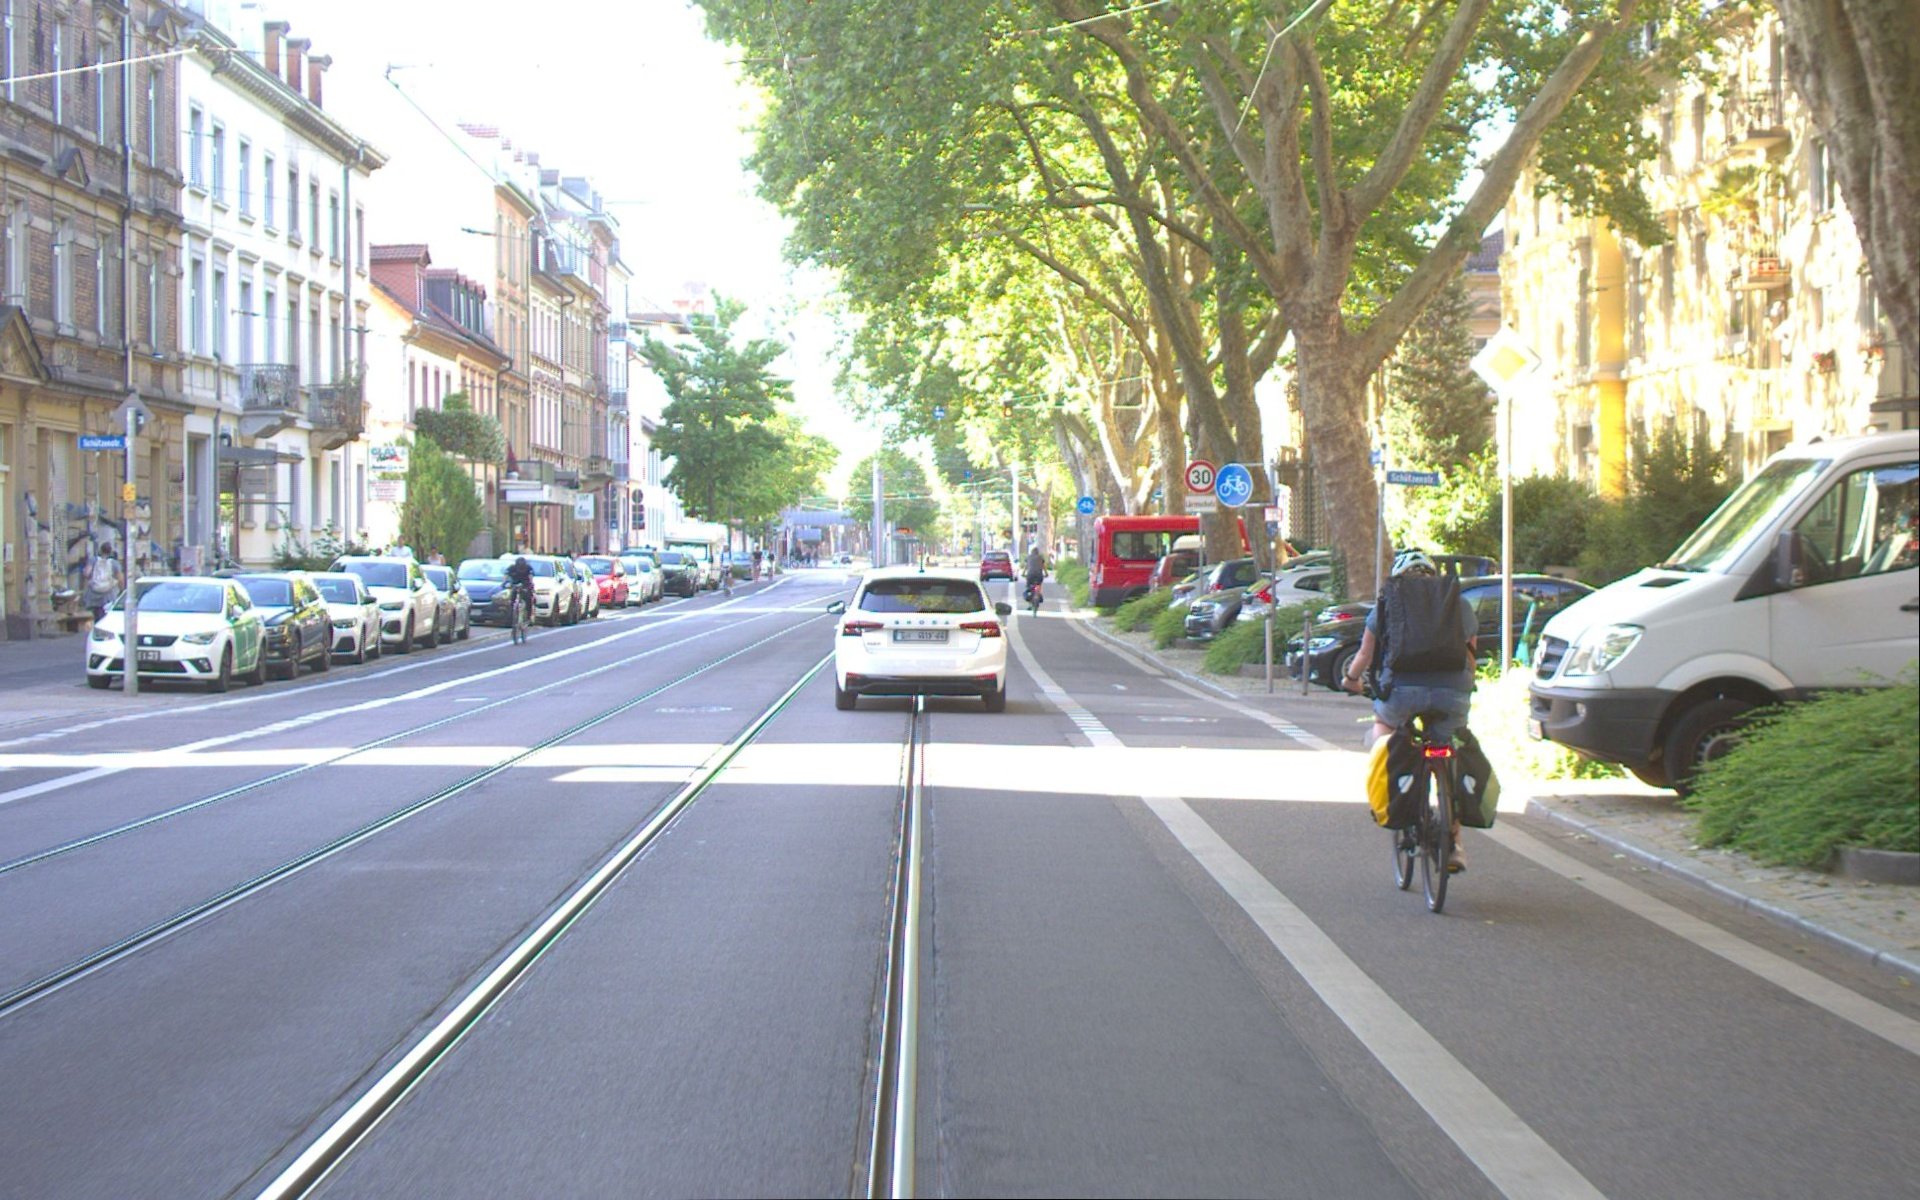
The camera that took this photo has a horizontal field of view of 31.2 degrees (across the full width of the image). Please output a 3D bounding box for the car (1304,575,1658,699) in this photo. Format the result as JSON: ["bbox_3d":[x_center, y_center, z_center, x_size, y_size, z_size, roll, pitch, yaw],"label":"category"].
[{"bbox_3d":[6.451,0.438,42.870,4.096,1.486,1.831,0,1,-2],"label":"car"}]

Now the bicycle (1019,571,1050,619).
[{"bbox_3d":[1.854,-0.127,86.133,0.680,1.151,2.964,1,1,0],"label":"bicycle"}]

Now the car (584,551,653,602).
[{"bbox_3d":[-10.661,-0.755,107.626,1.827,1.497,4.689,1,1,-2],"label":"car"}]

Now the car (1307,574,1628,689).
[{"bbox_3d":[6.669,0.402,45.530,4.097,1.486,1.681,0,1,5],"label":"car"}]

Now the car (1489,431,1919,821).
[{"bbox_3d":[6.383,0.119,21.088,5.991,2.274,2.006,0,2,2],"label":"car"}]

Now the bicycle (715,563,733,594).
[{"bbox_3d":[-8.394,-0.769,122.227,0.481,1.082,1.846,0,1,1],"label":"bicycle"}]

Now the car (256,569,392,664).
[{"bbox_3d":[-10.186,0.235,55.253,1.699,1.415,4.001,1,1,-4],"label":"car"}]

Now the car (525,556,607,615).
[{"bbox_3d":[-10.483,-0.405,91.739,1.687,1.472,4.258,1,1,0],"label":"car"}]

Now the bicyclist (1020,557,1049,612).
[{"bbox_3d":[1.861,-0.389,85.904,0.679,1.334,0.525,1,1,0],"label":"bicyclist"}]

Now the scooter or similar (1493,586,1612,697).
[{"bbox_3d":[6.747,0.468,39.144,1.307,1.251,0.341,0,1,13],"label":"scooter or similar"}]

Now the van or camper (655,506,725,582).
[{"bbox_3d":[-11.515,-2.404,147.114,2.216,3.129,7.113,1,1,2],"label":"van or camper"}]

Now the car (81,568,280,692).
[{"bbox_3d":[-10.104,0.353,44.800,1.740,1.486,4.045,1,1,-1],"label":"car"}]

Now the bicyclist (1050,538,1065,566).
[{"bbox_3d":[5.669,-2.789,200.128,0.737,1.583,0.586,0,1,13],"label":"bicyclist"}]

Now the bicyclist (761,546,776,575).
[{"bbox_3d":[-9.843,-2.043,176.713,0.638,1.498,1.069,-1,0,1],"label":"bicyclist"}]

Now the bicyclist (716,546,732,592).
[{"bbox_3d":[-8.395,-1.102,122.287,0.473,1.630,0.800,0,1,1],"label":"bicyclist"}]

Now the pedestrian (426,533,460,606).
[{"bbox_3d":[-12.864,-0.757,85.540,0.759,1.815,0.830,0,1,-3],"label":"pedestrian"}]

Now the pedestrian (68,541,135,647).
[{"bbox_3d":[-13.655,-0.091,54.704,0.663,1.659,0.767,2,1,32],"label":"pedestrian"}]

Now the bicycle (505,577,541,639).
[{"bbox_3d":[-8.276,0.149,65.133,0.421,1.146,2.232,-1,0,-1],"label":"bicycle"}]

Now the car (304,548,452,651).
[{"bbox_3d":[-10.221,-0.041,60.651,1.786,1.717,4.719,1,1,0],"label":"car"}]

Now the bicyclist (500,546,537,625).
[{"bbox_3d":[-8.340,-0.283,64.935,0.582,1.477,0.807,-1,1,-1],"label":"bicyclist"}]

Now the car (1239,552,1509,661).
[{"bbox_3d":[6.564,0.090,54.735,4.027,1.638,1.681,-1,1,-2],"label":"car"}]

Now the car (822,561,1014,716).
[{"bbox_3d":[-0.479,0.350,35.300,1.842,1.475,3.839,1,1,-2],"label":"car"}]

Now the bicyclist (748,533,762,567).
[{"bbox_3d":[-10.076,-2.460,168.936,0.535,1.629,0.896,-2,0,2],"label":"bicyclist"}]

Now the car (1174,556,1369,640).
[{"bbox_3d":[6.054,-0.048,67.071,3.595,1.512,1.694,-2,1,0],"label":"car"}]

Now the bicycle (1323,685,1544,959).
[{"bbox_3d":[2.087,0.948,15.447,0.595,1.001,2.511,3,1,0],"label":"bicycle"}]

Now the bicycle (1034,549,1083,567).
[{"bbox_3d":[5.752,-2.438,200.102,2.772,0.996,0.592,1,1,15],"label":"bicycle"}]

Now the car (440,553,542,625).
[{"bbox_3d":[-10.308,-0.263,75.758,1.554,1.510,3.924,0,1,2],"label":"car"}]

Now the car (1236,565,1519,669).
[{"bbox_3d":[6.300,0.241,52.149,4.027,1.475,1.681,-1,1,-1],"label":"car"}]

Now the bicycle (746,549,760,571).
[{"bbox_3d":[-10.170,-1.973,169.159,0.484,1.044,2.039,-2,1,2],"label":"bicycle"}]

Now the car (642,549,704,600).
[{"bbox_3d":[-10.723,-0.974,128.795,1.964,1.775,4.938,3,1,-2],"label":"car"}]

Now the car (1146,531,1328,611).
[{"bbox_3d":[6.160,-0.643,76.680,3.818,1.643,1.767,-2,0,-3],"label":"car"}]

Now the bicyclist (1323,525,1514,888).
[{"bbox_3d":[2.057,0.460,15.521,0.614,1.547,0.935,5,1,0],"label":"bicyclist"}]

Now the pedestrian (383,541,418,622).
[{"bbox_3d":[-13.930,-0.454,85.616,0.759,2.007,0.830,0,1,-2],"label":"pedestrian"}]

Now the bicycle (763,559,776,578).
[{"bbox_3d":[-9.811,-1.615,176.828,0.499,0.940,1.921,-2,1,2],"label":"bicycle"}]

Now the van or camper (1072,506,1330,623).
[{"bbox_3d":[5.676,-0.864,81.389,5.814,2.510,2.288,-2,2,-2],"label":"van or camper"}]

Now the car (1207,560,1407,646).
[{"bbox_3d":[6.504,0.052,64.634,3.595,1.594,1.541,0,0,0],"label":"car"}]

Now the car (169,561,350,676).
[{"bbox_3d":[-10.129,0.227,50.026,1.740,1.557,4.787,1,1,-1],"label":"car"}]

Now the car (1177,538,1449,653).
[{"bbox_3d":[5.898,-0.088,57.768,4.261,1.713,1.849,-3,1,-2],"label":"car"}]

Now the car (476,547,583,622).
[{"bbox_3d":[-10.124,-0.383,81.216,1.856,1.698,4.763,0,1,1],"label":"car"}]

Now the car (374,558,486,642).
[{"bbox_3d":[-10.150,-0.023,66.058,1.662,1.516,4.065,1,1,-2],"label":"car"}]
